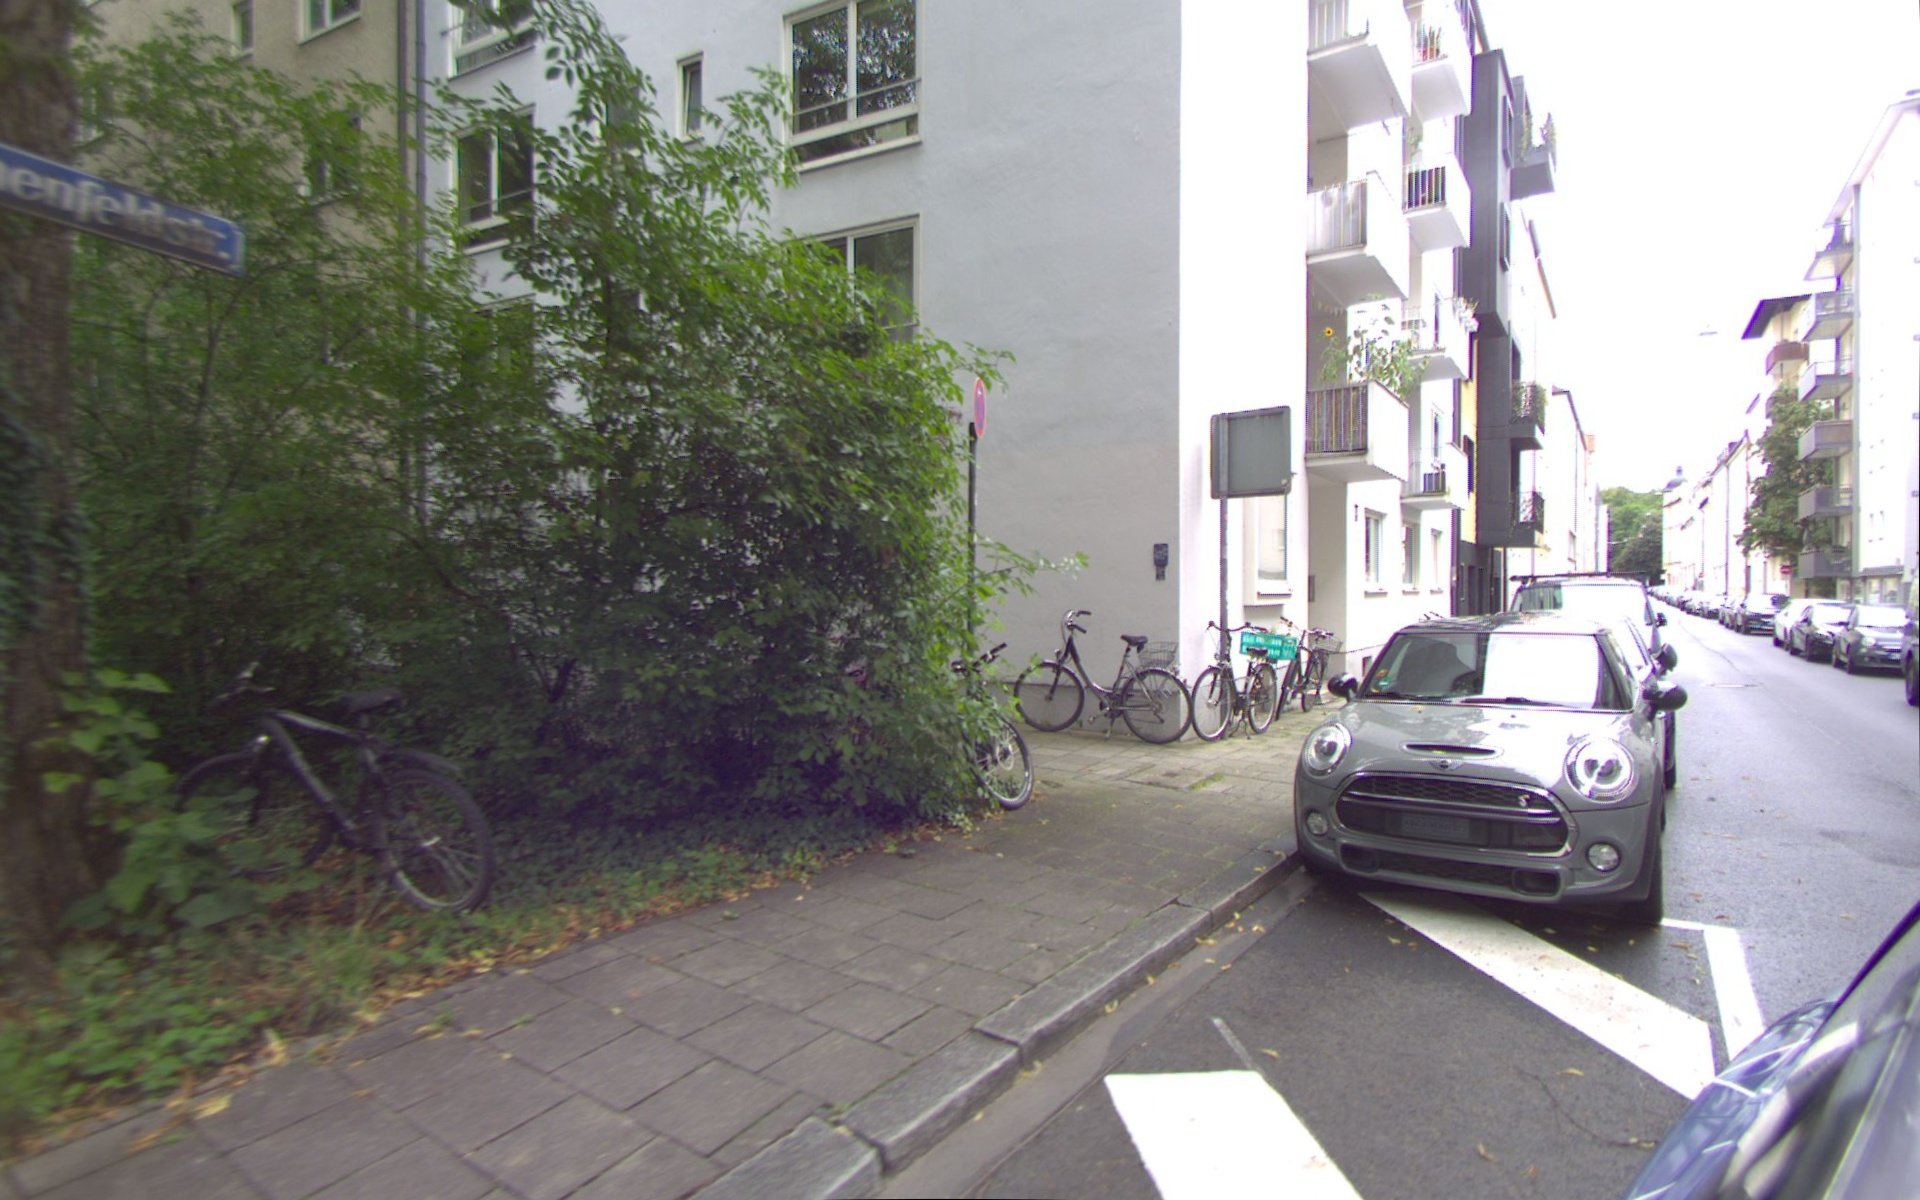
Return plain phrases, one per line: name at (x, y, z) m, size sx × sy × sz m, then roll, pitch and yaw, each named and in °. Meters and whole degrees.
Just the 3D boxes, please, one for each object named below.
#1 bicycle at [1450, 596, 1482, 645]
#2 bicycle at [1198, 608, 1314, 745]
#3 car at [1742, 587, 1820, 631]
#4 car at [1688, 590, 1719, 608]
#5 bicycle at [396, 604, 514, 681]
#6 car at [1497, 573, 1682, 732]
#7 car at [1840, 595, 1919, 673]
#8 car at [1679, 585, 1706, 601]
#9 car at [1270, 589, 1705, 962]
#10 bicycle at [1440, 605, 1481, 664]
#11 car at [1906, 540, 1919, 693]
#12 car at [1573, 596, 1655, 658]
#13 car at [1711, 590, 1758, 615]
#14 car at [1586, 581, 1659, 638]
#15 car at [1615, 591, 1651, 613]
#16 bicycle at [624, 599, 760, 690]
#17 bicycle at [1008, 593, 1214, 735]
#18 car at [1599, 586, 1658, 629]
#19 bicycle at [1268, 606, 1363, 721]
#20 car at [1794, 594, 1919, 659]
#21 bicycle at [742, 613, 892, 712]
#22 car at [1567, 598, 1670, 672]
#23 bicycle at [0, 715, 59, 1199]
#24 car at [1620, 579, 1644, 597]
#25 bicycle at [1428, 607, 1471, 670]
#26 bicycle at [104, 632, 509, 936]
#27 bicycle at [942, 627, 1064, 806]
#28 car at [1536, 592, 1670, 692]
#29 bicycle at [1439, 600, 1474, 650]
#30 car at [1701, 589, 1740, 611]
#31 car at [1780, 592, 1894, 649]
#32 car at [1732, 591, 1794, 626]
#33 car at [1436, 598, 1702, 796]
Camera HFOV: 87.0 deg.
bicycle at (11.480, 0.451, 22.952) m, size 0.475 × 1.061 × 1.503 m, roll 0°, pitch 0°, yaw 33°
bicycle at (3.023, 0.710, 10.205) m, size 0.557 × 1.235 × 1.894 m, roll -1°, pitch 0°, yaw 34°
car at (32.628, 0.320, 40.333) m, size 1.960 × 1.627 × 4.485 m, roll 1°, pitch 1°, yaw 34°
car at (62.159, -0.092, 84.615) m, size 1.884 × 1.471 × 4.244 m, roll 1°, pitch 1°, yaw 34°
bicycle at (-7.111, 0.573, 14.241) m, size 1.686 × 1.036 × 0.647 m, roll 0°, pitch -1°, yaw 28°
car at (8.755, 0.548, 14.014) m, size 1.868 × 1.813 × 4.724 m, roll 1°, pitch 1°, yaw 34°
car at (20.135, 0.682, 21.628) m, size 1.607 × 1.464 × 3.695 m, roll 3°, pitch 3°, yaw 36°
car at (70.810, -0.668, 97.856) m, size 1.884 × 1.471 × 4.244 m, roll 1°, pitch 1°, yaw 34°
car at (3.388, 0.677, 6.153) m, size 1.738 × 1.459 × 3.949 m, roll 1°, pitch 1°, yaw 35°
bicycle at (10.407, 0.692, 21.014) m, size 0.568 × 1.165 × 1.544 m, roll 0°, pitch 0°, yaw 34°
car at (14.275, 0.304, 13.182) m, size 2.012 × 2.307 × 5.323 m, roll 2°, pitch 2°, yaw 35°
car at (17.472, 0.660, 27.080) m, size 1.727 × 1.447 × 4.154 m, roll 1°, pitch 1°, yaw 33°
car at (46.621, 0.141, 60.972) m, size 1.960 × 1.394 × 4.244 m, roll 1°, pitch 1°, yaw 34°
car at (23.518, 0.303, 35.914) m, size 1.975 × 1.862 × 5.121 m, roll -2°, pitch 0°, yaw 34°
car at (44.376, 0.097, 66.752) m, size 1.960 × 1.394 × 4.244 m, roll 1°, pitch 1°, yaw 34°
bicycle at (-3.237, 0.506, 12.178) m, size 1.686 × 1.036 × 0.534 m, roll 0°, pitch -1°, yaw 29°
bicycle at (1.406, 0.564, 9.548) m, size 1.836 × 1.245 × 0.572 m, roll 0°, pitch -1°, yaw 28°
car at (27.989, 0.259, 42.383) m, size 1.954 × 1.695 × 4.486 m, roll 1°, pitch 1°, yaw 34°
bicycle at (4.284, 0.694, 12.079) m, size 0.620 × 1.235 × 2.223 m, roll -1°, pitch 0°, yaw 31°
car at (22.508, 0.589, 25.488) m, size 1.793 × 1.434 × 4.178 m, roll 1°, pitch 1°, yaw 32°
bicycle at (-1.604, 0.663, 11.290) m, size 1.686 × 1.036 × 0.534 m, roll 0°, pitch -1°, yaw 29°
car at (14.923, 0.747, 23.036) m, size 1.752 × 1.449 × 4.212 m, roll -3°, pitch -1°, yaw 32°
bicycle at (-3.090, 0.864, 2.224) m, size 1.739 × 1.152 × 0.554 m, roll 0°, pitch 0°, yaw 0°
car at (64.940, -1.154, 97.783) m, size 1.884 × 1.651 × 4.244 m, roll 1°, pitch 1°, yaw 34°
bicycle at (9.499, 0.719, 19.612) m, size 0.568 × 1.165 × 1.413 m, roll 0°, pitch 0°, yaw 34°
bicycle at (-2.750, 0.689, 4.259) m, size 1.615 × 1.069 × 0.602 m, roll 0°, pitch 0°, yaw 21°
bicycle at (0.258, 0.750, 7.178) m, size 0.442 × 1.069 × 1.638 m, roll 0°, pitch 0°, yaw -13°
car at (12.042, 0.672, 18.924) m, size 1.899 × 1.573 × 4.569 m, roll 1°, pitch 1°, yaw 34°
bicycle at (10.627, 0.512, 21.639) m, size 0.475 × 1.015 × 1.533 m, roll -1°, pitch 0°, yaw 33°
car at (52.584, -0.010, 70.016) m, size 1.884 × 1.471 × 4.244 m, roll 1°, pitch 1°, yaw 34°
car at (25.476, 0.524, 29.551) m, size 1.905 × 1.455 × 4.751 m, roll 1°, pitch 1°, yaw 34°
car at (35.868, 0.347, 45.295) m, size 1.807 × 1.460 × 4.244 m, roll 1°, pitch 1°, yaw 34°
car at (5.934, 0.725, 9.837) m, size 1.826 × 1.437 × 4.010 m, roll 1°, pitch 1°, yaw 33°
